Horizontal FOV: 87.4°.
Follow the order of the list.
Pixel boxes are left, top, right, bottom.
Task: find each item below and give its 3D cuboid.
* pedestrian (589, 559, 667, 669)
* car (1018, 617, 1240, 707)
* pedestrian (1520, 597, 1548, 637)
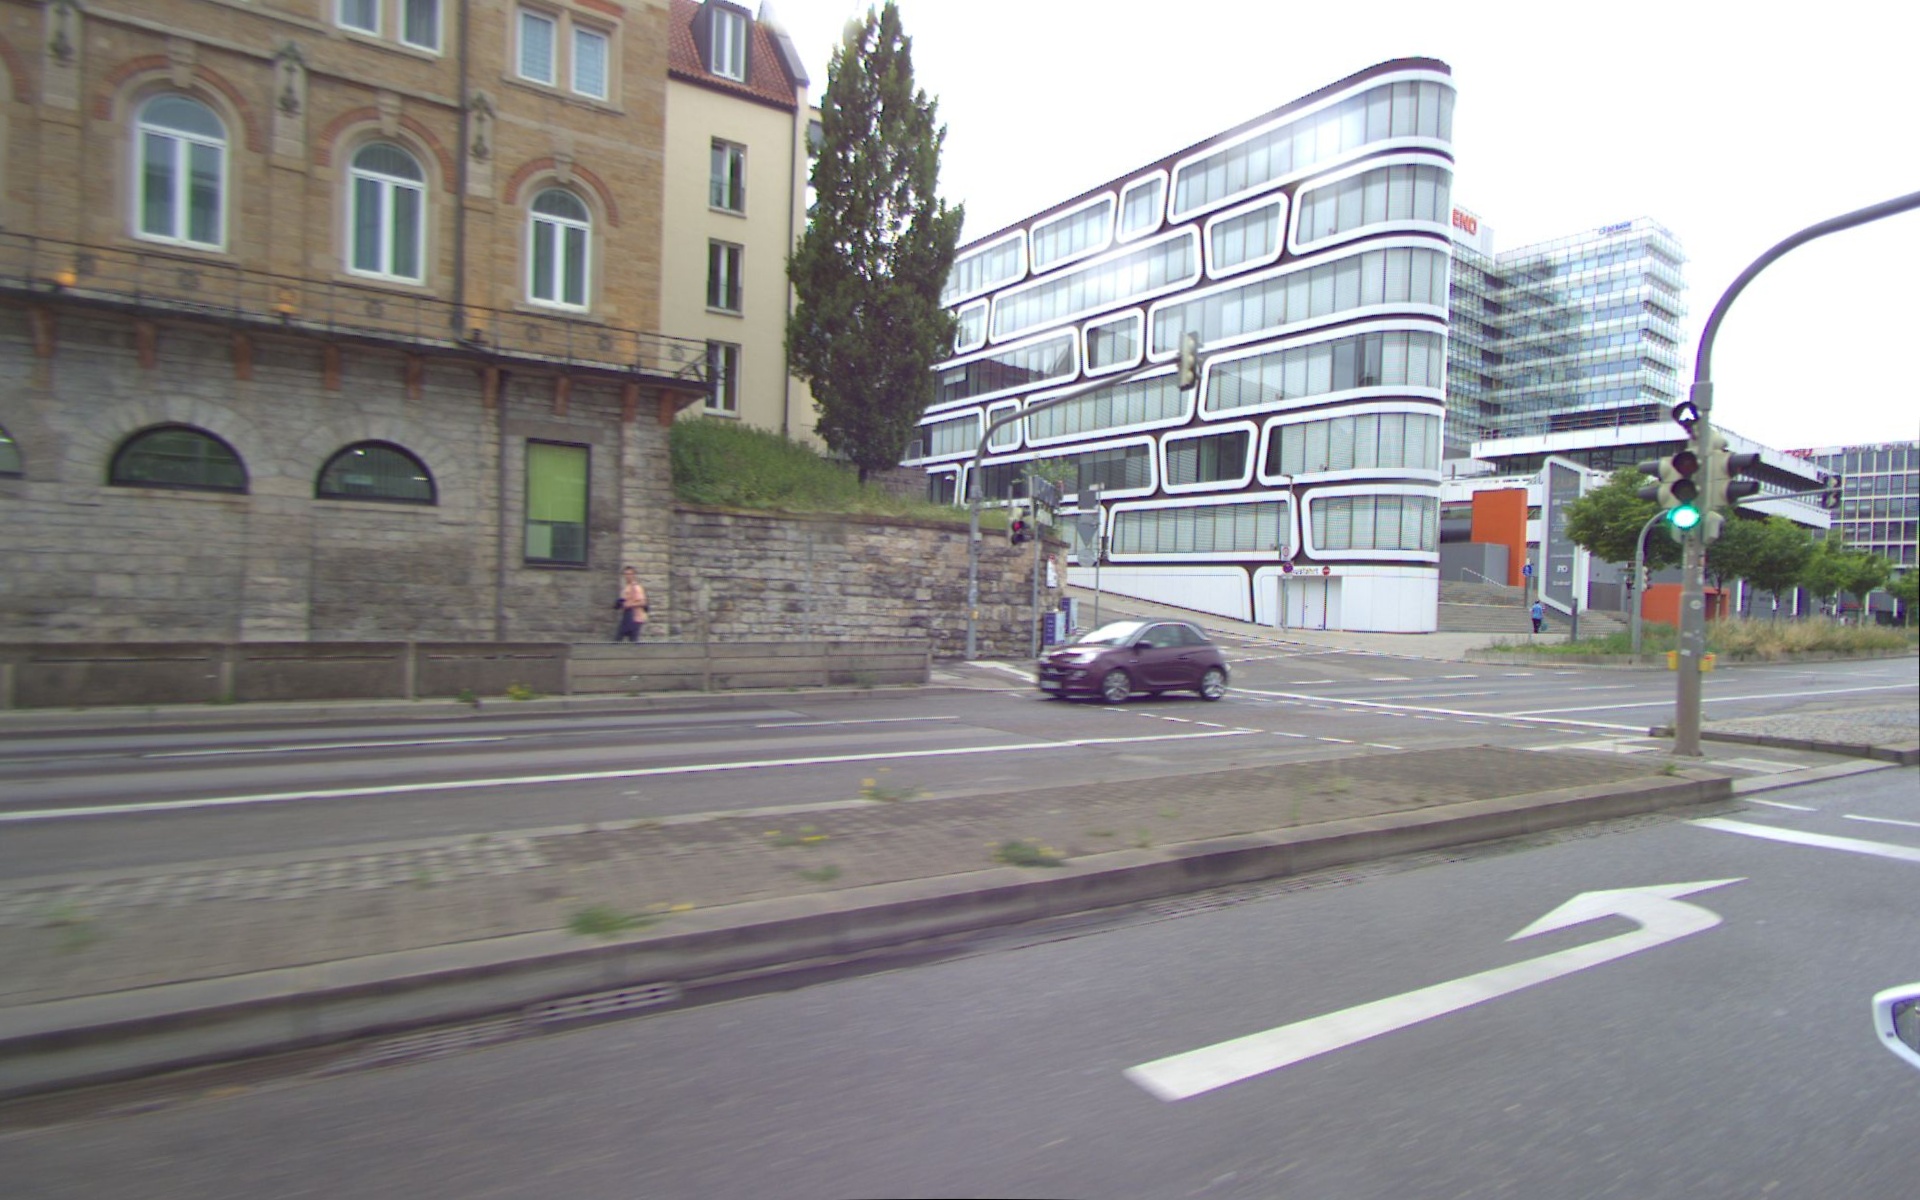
[{"bbox_3d":[-5.838,0.236,17.727,1.040,1.892,0.883,0,0,4],"label":"pedestrian"},{"bbox_3d":[3.043,1.031,17.928,3.682,1.426,1.739,1,0,-31],"label":"car"},{"bbox_3d":[29.259,0.850,51.211,0.707,2.040,1.024,0,0,-31],"label":"pedestrian"}]
